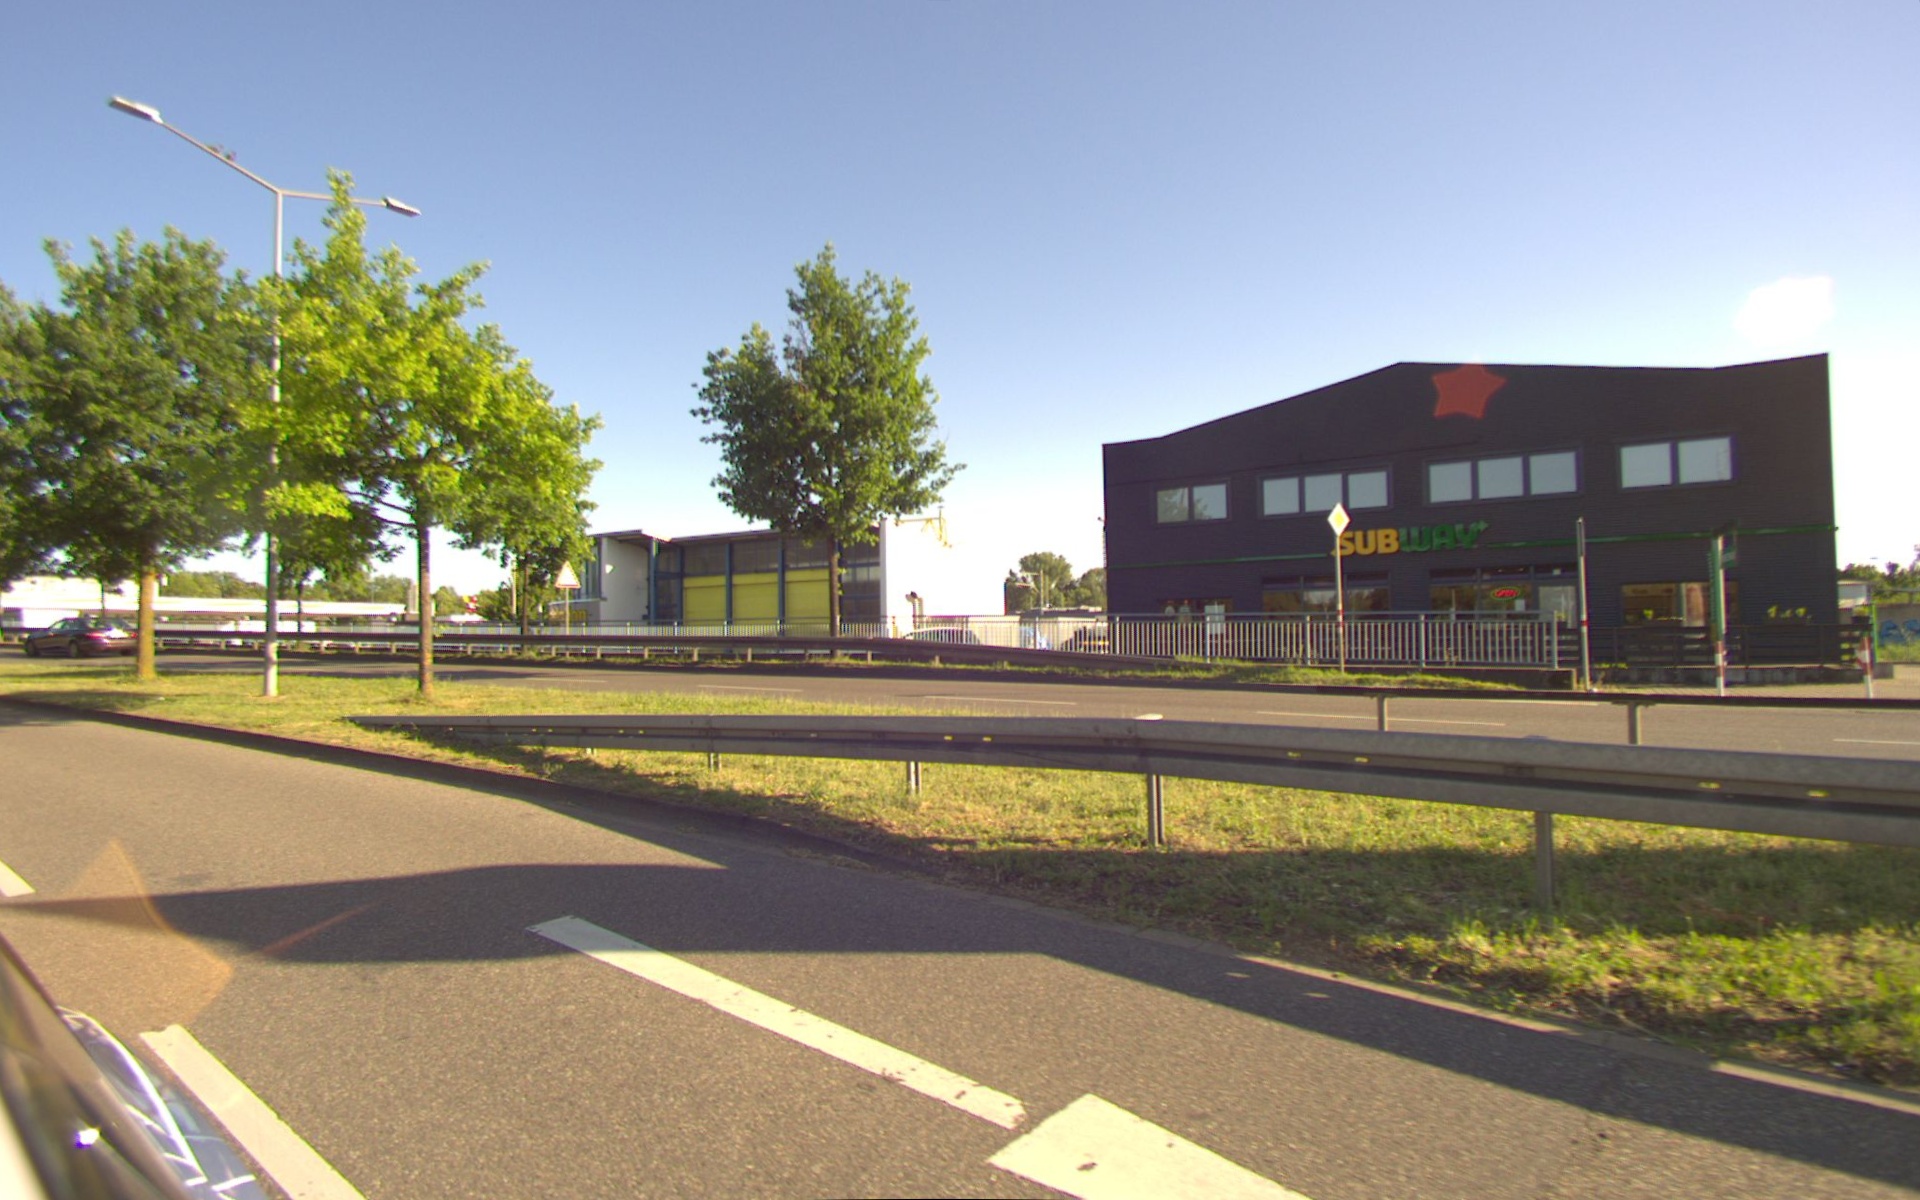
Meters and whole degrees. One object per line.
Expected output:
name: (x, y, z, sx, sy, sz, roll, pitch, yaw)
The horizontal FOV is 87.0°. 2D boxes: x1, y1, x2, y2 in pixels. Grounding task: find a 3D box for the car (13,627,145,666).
car: (-32.089, 1.662, 36.858, 4.585, 1.320, 1.792, -1, -1, 23)
